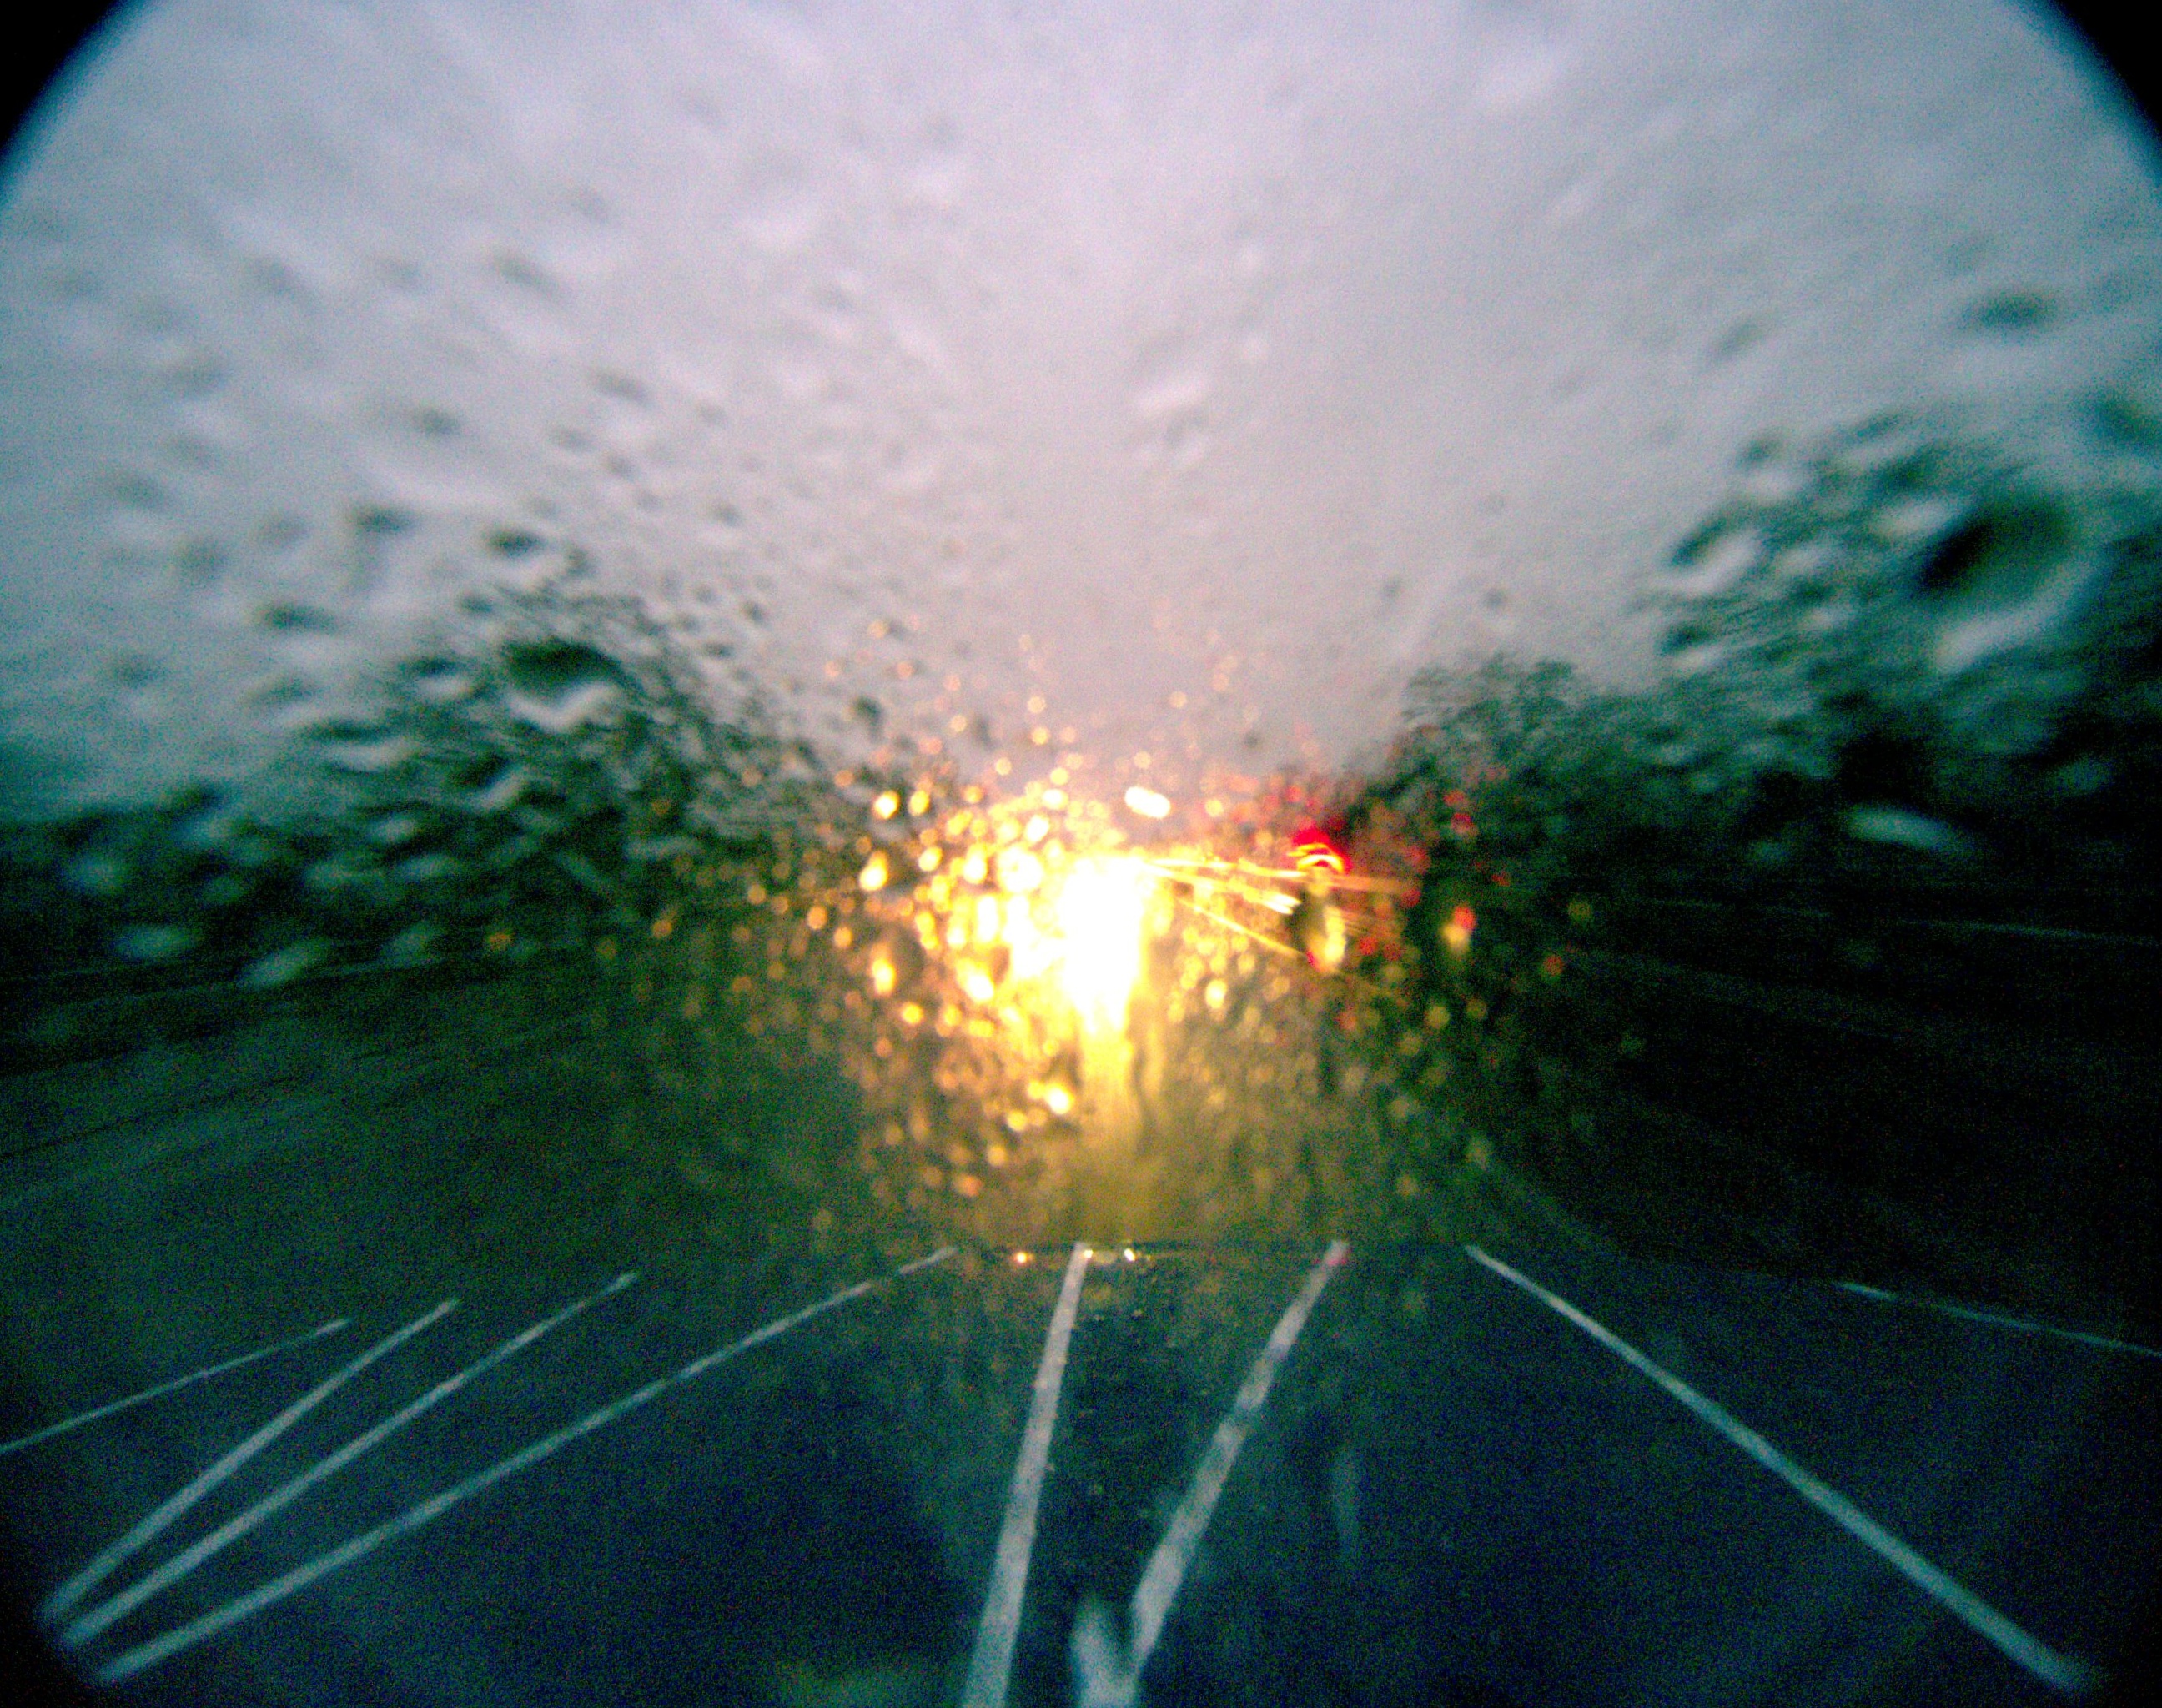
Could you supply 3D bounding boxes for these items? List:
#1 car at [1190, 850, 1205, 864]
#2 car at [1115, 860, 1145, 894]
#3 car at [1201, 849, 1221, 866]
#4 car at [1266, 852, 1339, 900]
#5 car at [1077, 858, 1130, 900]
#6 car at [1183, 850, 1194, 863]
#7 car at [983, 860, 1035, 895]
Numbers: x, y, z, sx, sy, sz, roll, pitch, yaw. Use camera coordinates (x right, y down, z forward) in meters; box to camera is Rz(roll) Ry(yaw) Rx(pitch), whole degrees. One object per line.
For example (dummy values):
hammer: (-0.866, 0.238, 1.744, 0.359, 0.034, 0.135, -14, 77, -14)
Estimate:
car: (17.825, 0.393, 116.308, 1.938, 1.961, 4.540, -2, 0, 12)
car: (3.354, 1.545, 52.720, 1.795, 2.002, 3.724, -5, 2, 2)
car: (14.560, 0.370, 85.503, 1.749, 1.823, 4.135, -1, 1, 3)
car: (8.502, 0.784, 29.488, 1.744, 1.630, 4.000, -4, 0, 3)
car: (0.964, 0.947, 30.352, 1.849, 1.521, 4.150, -2, 0, 5)
car: (21.612, 0.513, 153.426, 1.849, 2.422, 5.418, -2, 0, 5)
car: (-3.344, 1.063, 35.802, 1.850, 1.521, 4.149, -2, 0, 2)
